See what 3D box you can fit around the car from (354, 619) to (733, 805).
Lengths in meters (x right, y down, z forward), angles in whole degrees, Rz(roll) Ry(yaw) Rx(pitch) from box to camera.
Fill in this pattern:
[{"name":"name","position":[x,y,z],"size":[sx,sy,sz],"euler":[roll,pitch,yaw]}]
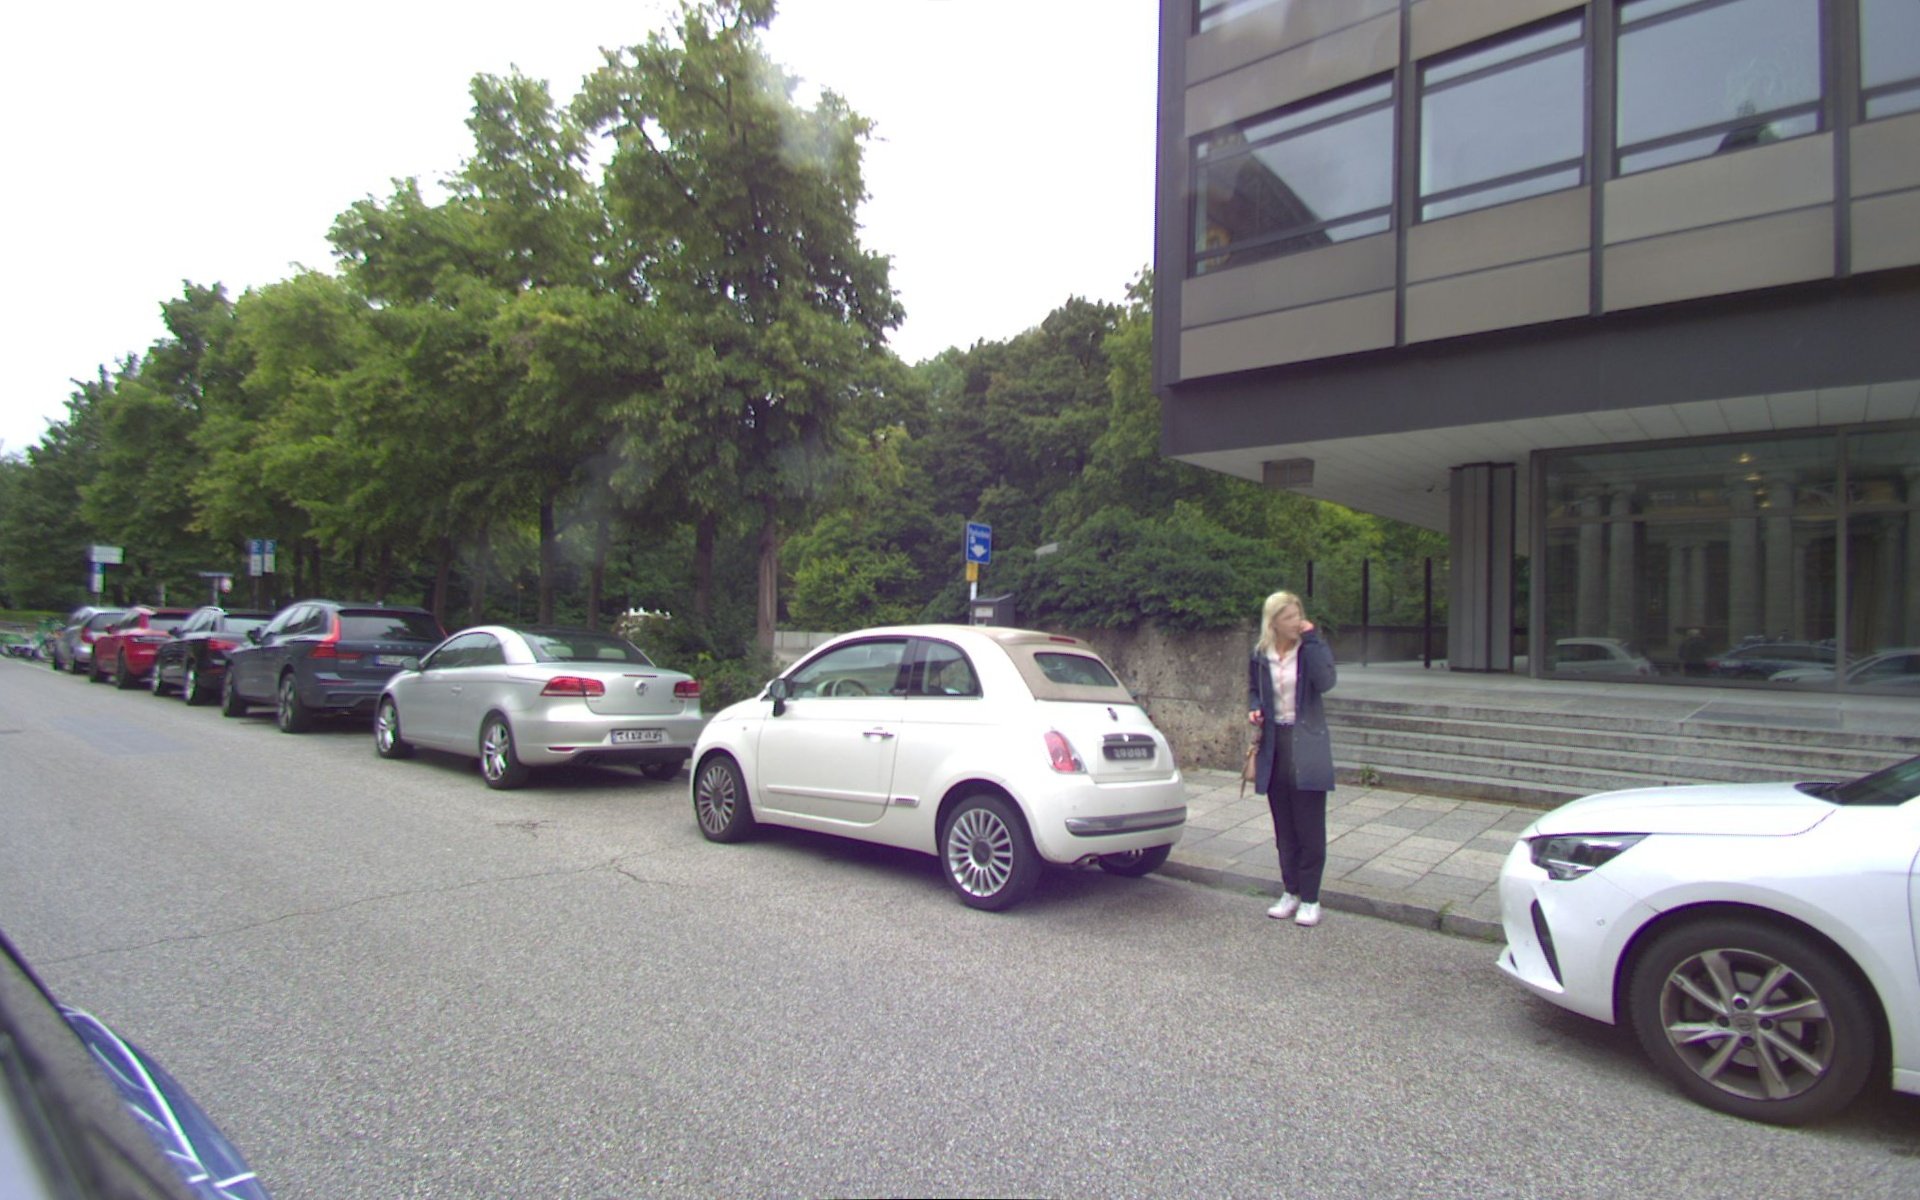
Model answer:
[{"name":"car","position":[-4.205,0.961,9.884],"size":[4.217,1.411,1.739],"euler":[-1,-5,43]}]

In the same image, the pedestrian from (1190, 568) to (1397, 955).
[{"name":"pedestrian","position":[1.730,0.767,5.206],"size":[0.690,1.765,0.880],"euler":[-2,-5,44]}]

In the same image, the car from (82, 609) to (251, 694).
[{"name":"car","position":[-16.233,0.998,20.618],"size":[4.363,1.555,1.972],"euler":[-1,-3,42]}]

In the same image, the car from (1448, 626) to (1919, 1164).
[{"name":"car","position":[3.881,0.868,2.787],"size":[4.278,1.451,1.663],"euler":[0,-5,42]}]

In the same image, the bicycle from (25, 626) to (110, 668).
[{"name":"bicycle","position":[-25.176,1.312,28.584],"size":[0.597,1.116,1.681],"euler":[0,-1,33]}]

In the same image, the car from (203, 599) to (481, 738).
[{"name":"car","position":[-8.565,0.842,13.861],"size":[4.520,1.595,1.972],"euler":[-1,-3,42]}]

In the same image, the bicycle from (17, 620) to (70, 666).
[{"name":"bicycle","position":[-26.548,1.236,29.333],"size":[0.566,1.292,1.423],"euler":[0,-1,-16]}]

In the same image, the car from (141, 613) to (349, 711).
[{"name":"car","position":[-12.482,0.996,17.550],"size":[4.646,1.472,1.972],"euler":[-1,-3,42]}]

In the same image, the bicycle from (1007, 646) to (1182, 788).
[{"name":"bicycle","position":[1.249,1.047,9.535],"size":[1.526,1.173,0.636],"euler":[-1,0,40]}]

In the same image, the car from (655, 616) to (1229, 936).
[{"name":"car","position":[-0.274,0.882,6.494],"size":[3.551,1.482,1.527],"euler":[-1,-4,41]}]

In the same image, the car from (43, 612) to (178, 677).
[{"name":"car","position":[-21.190,1.071,25.179],"size":[4.363,1.472,1.972],"euler":[-1,-3,42]}]
